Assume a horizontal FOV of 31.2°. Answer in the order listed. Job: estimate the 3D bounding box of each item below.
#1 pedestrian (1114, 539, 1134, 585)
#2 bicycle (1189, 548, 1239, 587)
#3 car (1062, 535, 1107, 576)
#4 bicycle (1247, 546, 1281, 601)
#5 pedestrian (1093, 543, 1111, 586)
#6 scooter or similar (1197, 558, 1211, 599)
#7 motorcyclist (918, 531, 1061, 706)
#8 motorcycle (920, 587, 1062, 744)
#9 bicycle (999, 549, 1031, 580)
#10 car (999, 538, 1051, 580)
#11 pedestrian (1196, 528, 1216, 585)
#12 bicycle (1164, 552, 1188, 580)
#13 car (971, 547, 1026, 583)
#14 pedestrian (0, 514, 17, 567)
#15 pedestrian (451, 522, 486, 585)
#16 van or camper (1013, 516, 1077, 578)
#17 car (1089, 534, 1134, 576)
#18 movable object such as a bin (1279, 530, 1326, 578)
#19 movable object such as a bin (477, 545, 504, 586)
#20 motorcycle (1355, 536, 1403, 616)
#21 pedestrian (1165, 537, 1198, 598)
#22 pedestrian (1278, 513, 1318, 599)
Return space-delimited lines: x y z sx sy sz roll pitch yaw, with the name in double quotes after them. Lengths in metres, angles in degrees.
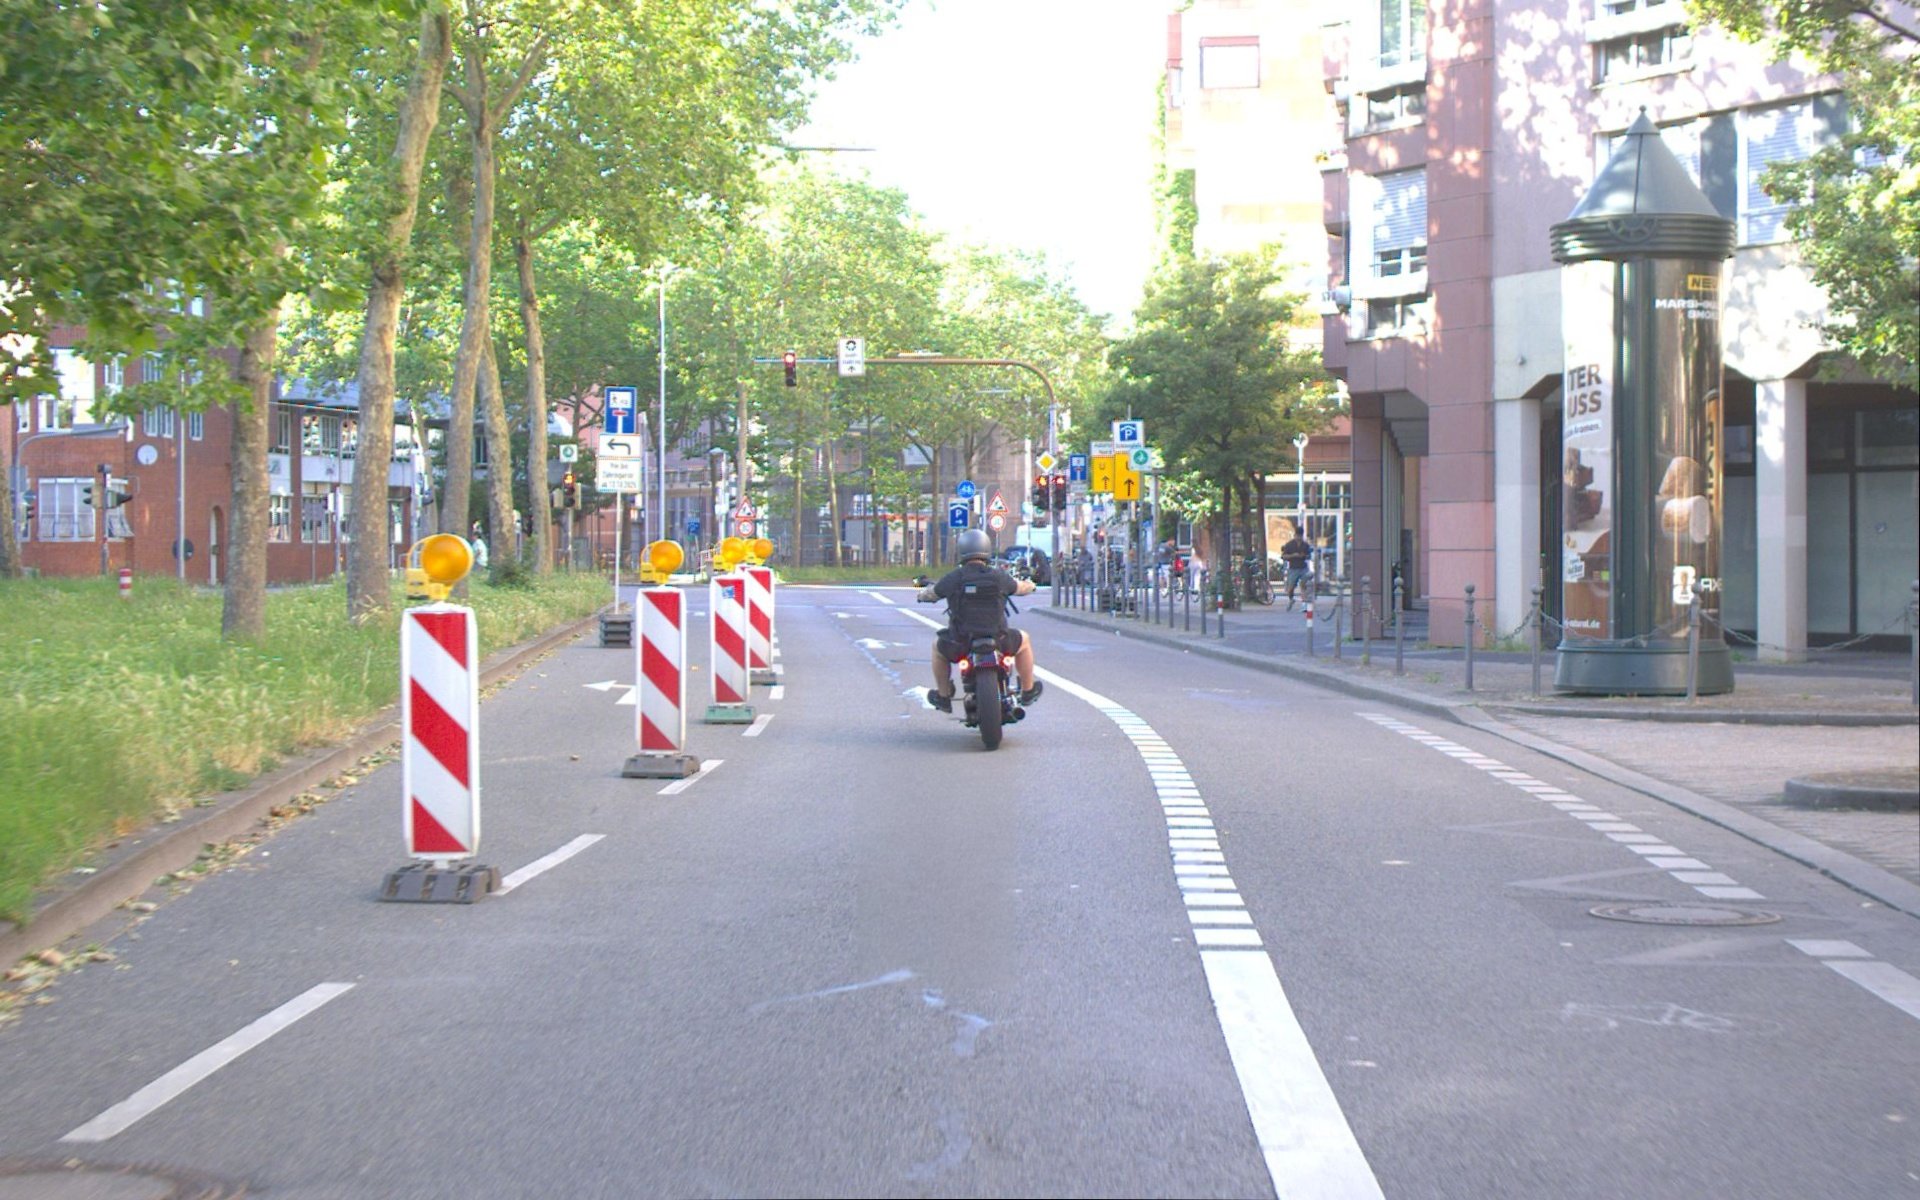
6.115 -1.422 127.985 0.700 1.727 0.767 0 1 1 "pedestrian"
8.090 -1.037 109.507 1.567 1.223 0.577 0 1 3 "bicycle"
5.784 -2.060 159.482 1.621 1.859 3.773 0 1 10 "car"
6.922 -0.603 78.225 0.622 1.221 1.926 0 1 10 "bicycle"
5.280 -1.316 127.987 0.644 1.573 0.748 0 1 1 "pedestrian"
7.049 -0.623 99.272 0.394 1.154 1.249 0 1 3 "scooter or similar"
0.214 0.131 25.855 1.011 1.258 0.774 2 1 -1 "motorcyclist"
0.212 0.468 25.816 1.018 1.093 2.008 0 1 -1 "motorcycle"
1.900 -1.224 118.291 0.737 1.049 1.753 0 1 -12 "bicycle"
2.562 -1.614 135.120 1.620 1.614 4.484 0 1 7 "car"
7.181 -1.275 100.320 0.459 1.667 0.680 0 1 -9 "pedestrian"
7.397 -1.171 117.748 0.737 0.936 1.752 0 1 2 "bicycle"
1.414 -1.294 125.371 1.620 1.298 4.311 0 1 6 "car"
-33.683 -2.100 120.751 0.855 1.863 0.752 0 1 5 "pedestrian"
-11.671 -1.110 81.640 0.619 1.498 0.534 1 1 24 "pedestrian"
3.519 -2.185 141.795 2.049 2.532 5.771 0 1 7 "van or camper"
7.329 -2.166 165.773 1.836 2.007 4.387 0 1 7 "car"
10.663 -1.429 106.980 1.410 1.477 0.871 0 1 9 "movable object such as a bin"
-11.183 -0.825 81.873 0.510 0.950 0.539 0 1 11 "movable object such as a bin"
7.234 -0.427 59.394 0.488 1.368 2.091 0 1 -2 "motorcycle"
6.412 -0.937 99.590 0.785 1.757 0.610 0 1 -21 "pedestrian"
6.857 -0.896 69.717 0.781 1.732 0.837 0 1 6 "pedestrian"
